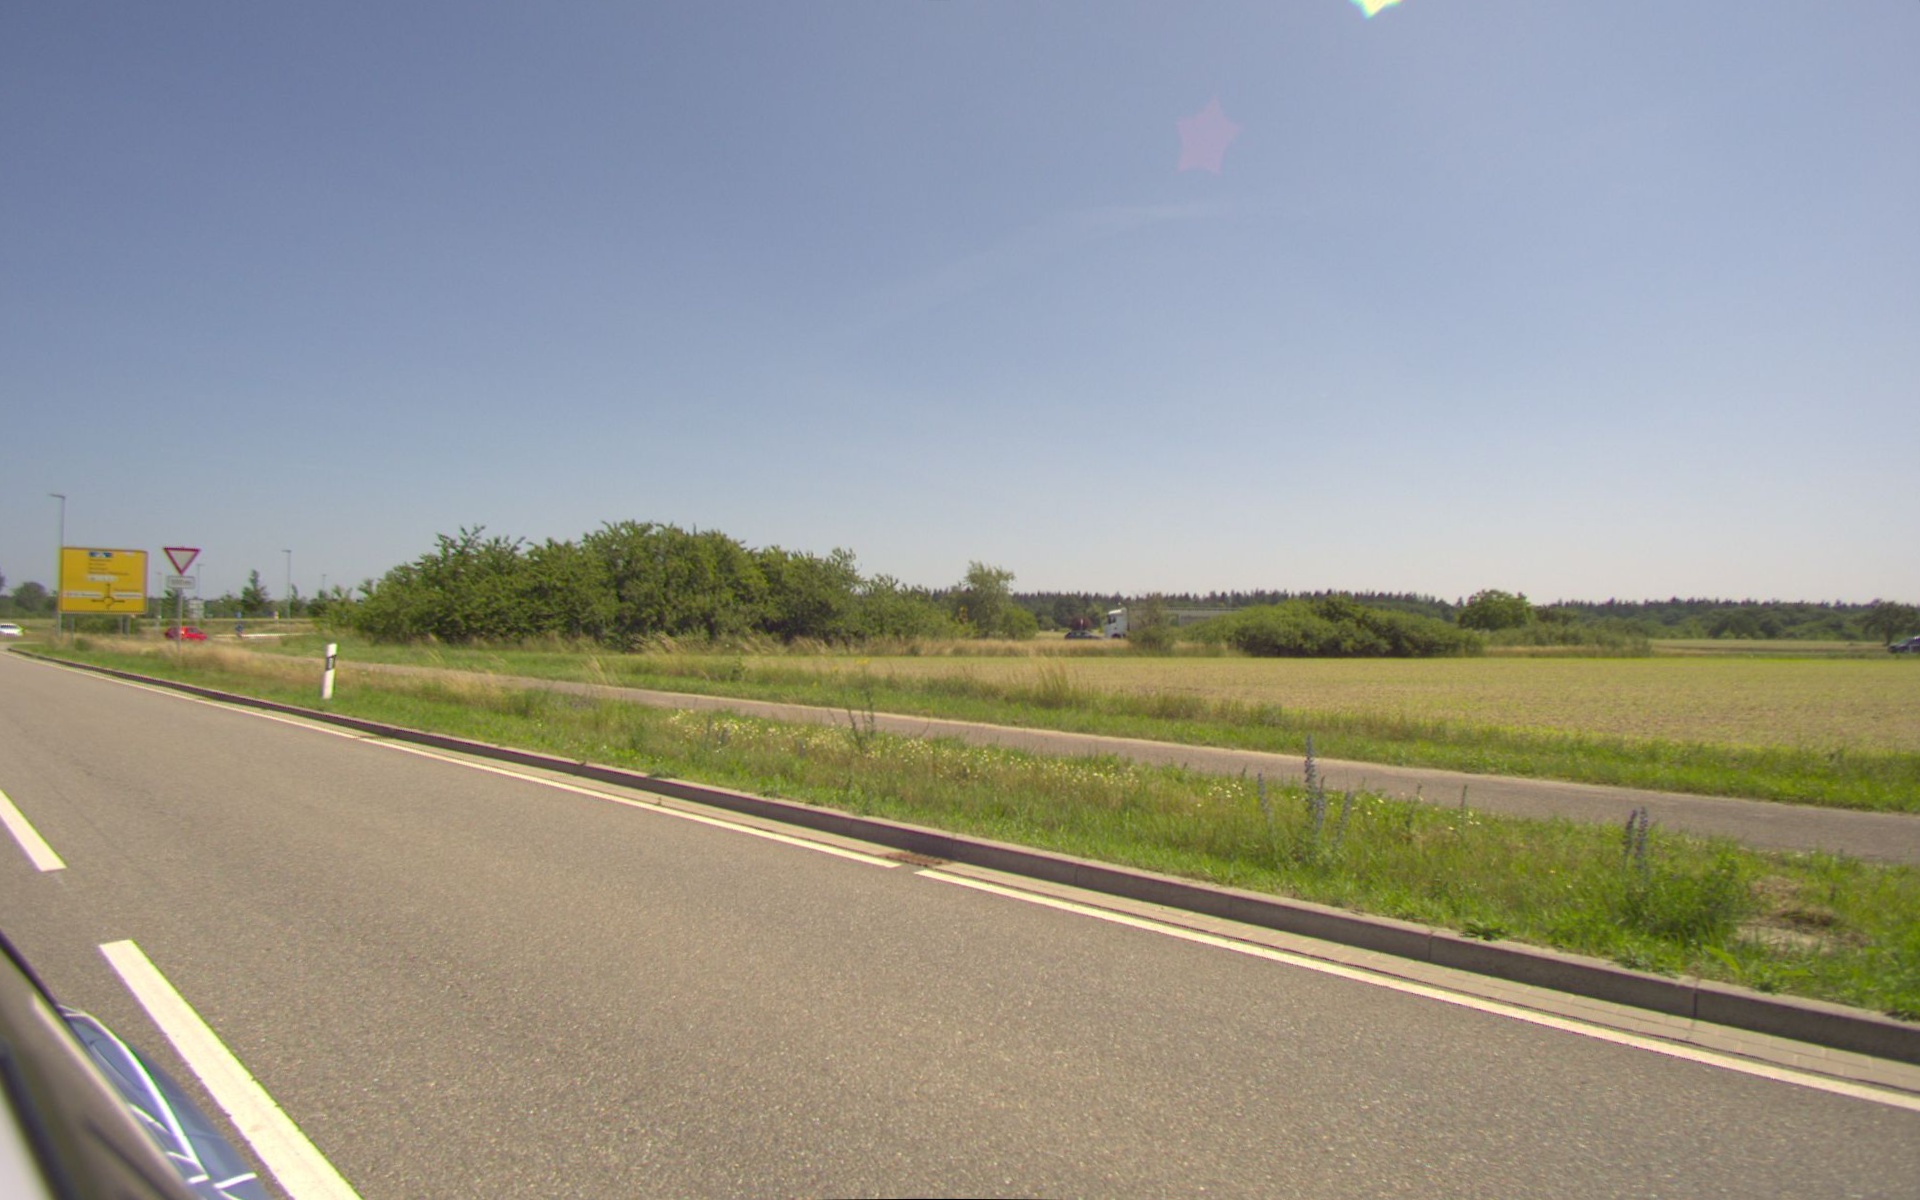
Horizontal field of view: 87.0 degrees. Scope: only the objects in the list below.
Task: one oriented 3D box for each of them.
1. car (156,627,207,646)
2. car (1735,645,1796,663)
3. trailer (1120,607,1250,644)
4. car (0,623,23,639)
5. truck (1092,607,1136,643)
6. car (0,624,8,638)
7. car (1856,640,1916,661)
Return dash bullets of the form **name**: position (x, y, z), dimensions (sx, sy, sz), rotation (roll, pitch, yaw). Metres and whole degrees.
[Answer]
- **car**: position (-63.557, 3.015, 82.650), dimensions (1.634, 1.444, 3.743), rotation (2, -3, -9)
- **car**: position (77.852, 5.171, 97.867), dimensions (4.165, 1.641, 1.795), rotation (0, -2, 13)
- **trailer**: position (24.687, 2.803, 111.527), dimensions (13.740, 3.964, 2.633), rotation (0, -2, 13)
- **car**: position (-85.294, 2.777, 90.450), dimensions (3.996, 1.438, 1.724), rotation (-1, -2, 40)
- **truck**: position (17.249, 2.808, 113.236), dimensions (4.730, 3.964, 2.633), rotation (0, -2, 13)
- **car**: position (-92.843, 2.908, 96.846), dimensions (3.991, 1.321, 1.727), rotation (-1, -2, 35)
- **car**: position (92.828, 5.022, 101.489), dimensions (3.954, 2.029, 1.995), rotation (0, -2, 9)
